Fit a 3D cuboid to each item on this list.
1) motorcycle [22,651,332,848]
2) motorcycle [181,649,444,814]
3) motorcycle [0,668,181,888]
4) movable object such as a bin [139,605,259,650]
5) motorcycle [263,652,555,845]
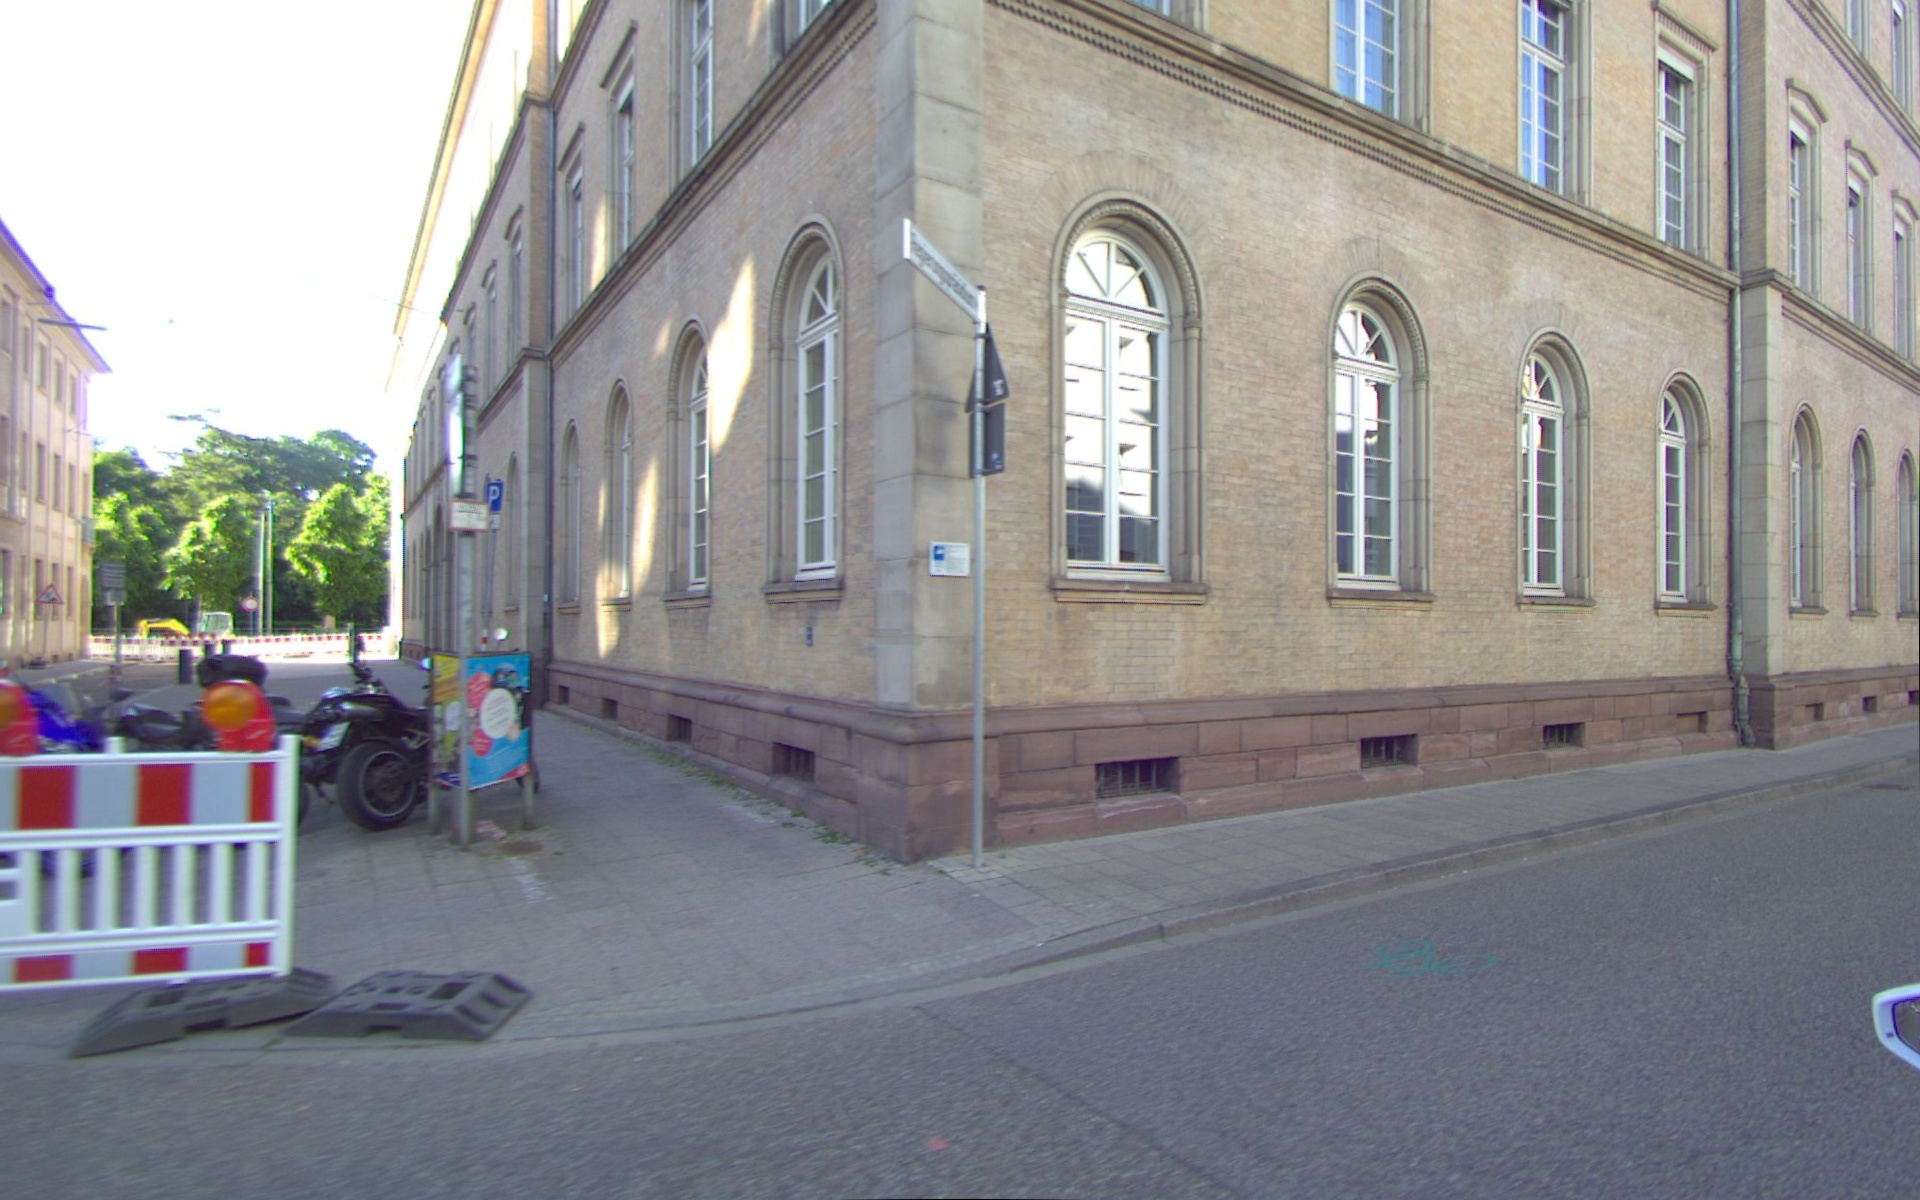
[{"bbox_3d":[-5.734,1.042,7.363,2.156,1.311,0.588,-1,-1,14],"label":"motorcycle"},{"bbox_3d":[-5.453,1.065,8.472,2.085,1.291,0.588,-1,-1,13],"label":"motorcycle"},{"bbox_3d":[-6.021,1.036,6.137,2.237,1.189,0.588,-1,2,9],"label":"motorcycle"},{"bbox_3d":[-38.451,1.366,50.937,4.414,2.198,3.078,1,-1,-29],"label":"movable object such as a bin"},{"bbox_3d":[-4.092,1.031,7.726,0.647,1.189,2.202,-1,-1,14],"label":"motorcycle"}]
